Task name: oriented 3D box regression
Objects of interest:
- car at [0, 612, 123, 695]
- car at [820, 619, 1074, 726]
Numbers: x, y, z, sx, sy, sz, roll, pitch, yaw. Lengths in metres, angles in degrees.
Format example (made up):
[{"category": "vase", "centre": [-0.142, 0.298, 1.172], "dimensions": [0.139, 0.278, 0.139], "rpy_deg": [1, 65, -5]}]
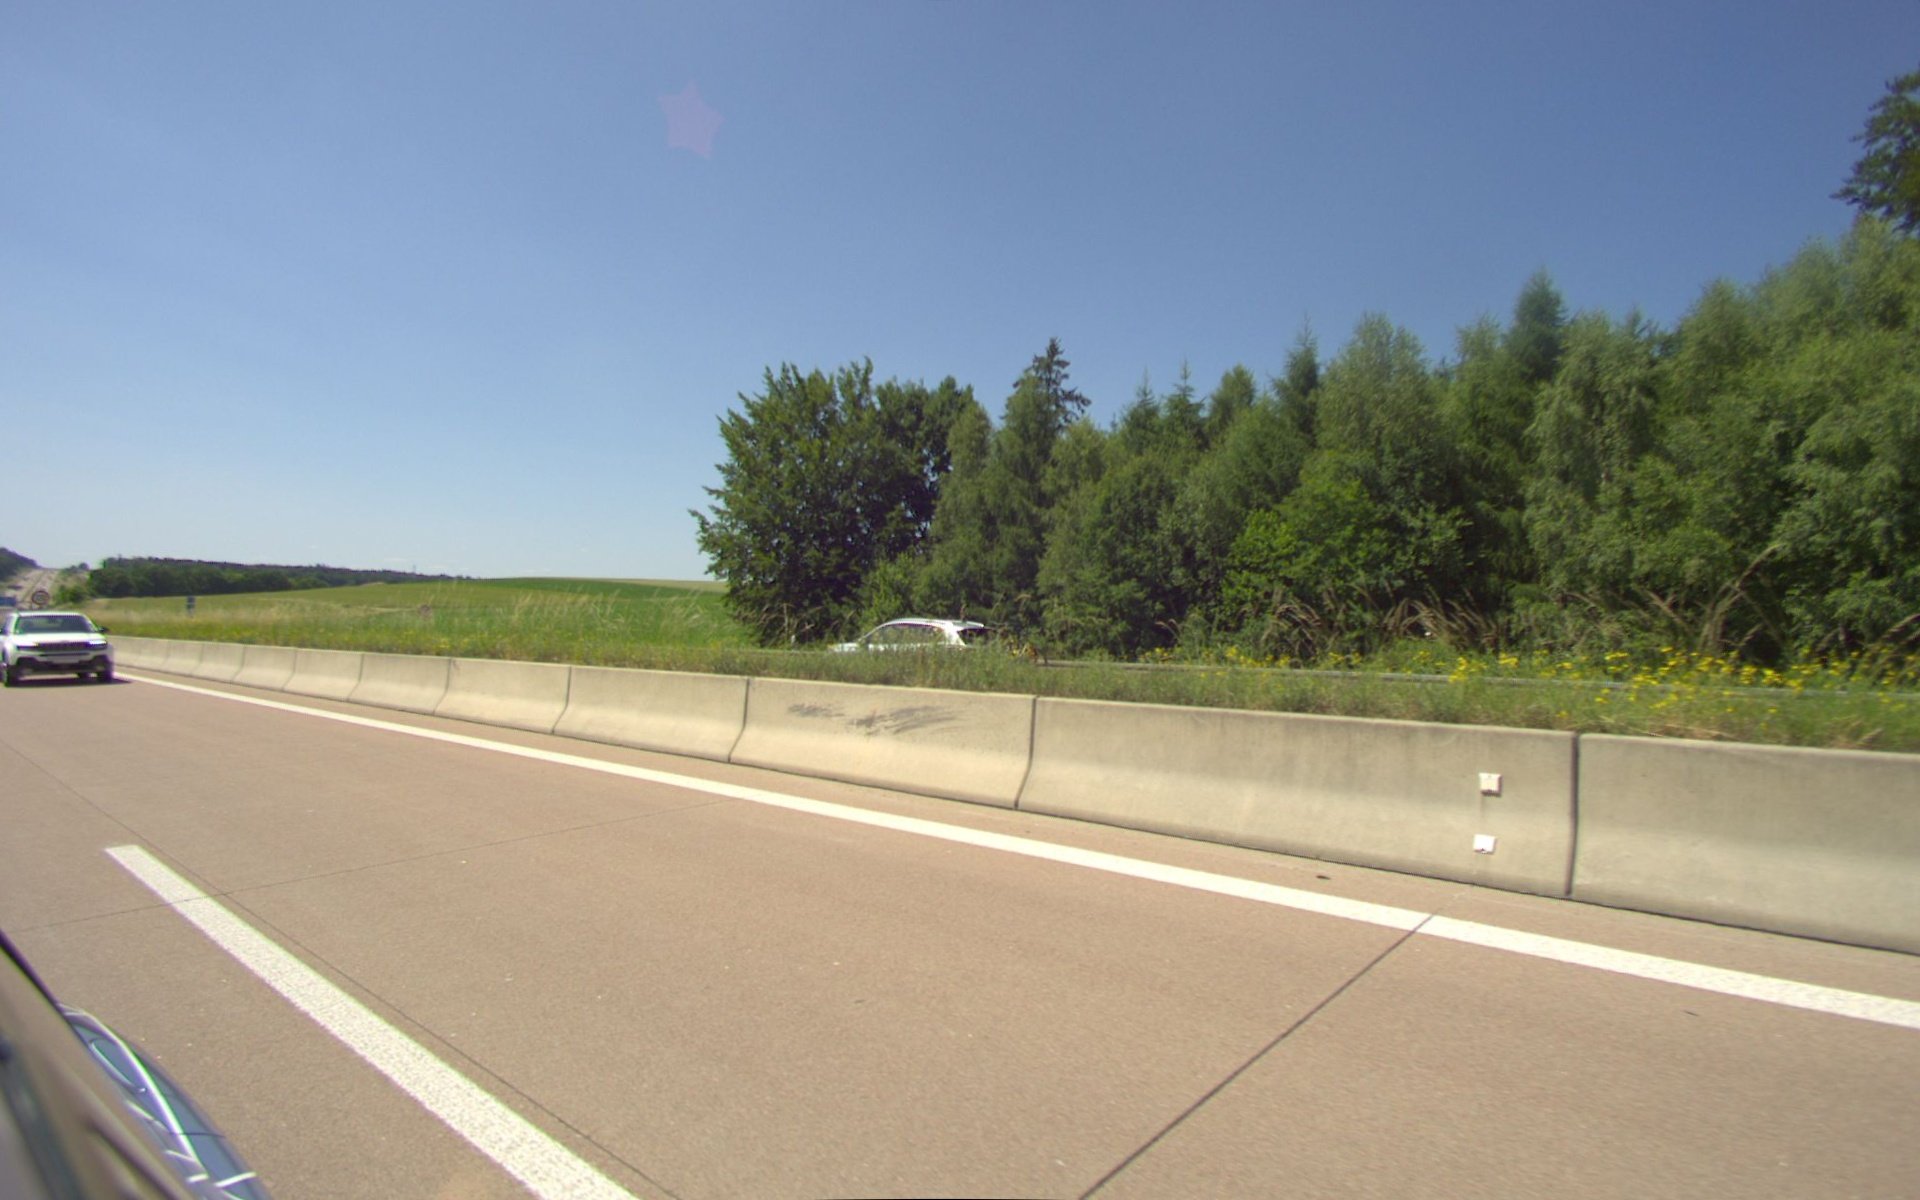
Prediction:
[{"category": "car", "centre": [-20.094, 1.089, 22.275], "dimensions": [4.832, 1.619, 1.859], "rpy_deg": [-1, -1, 42]}, {"category": "car", "centre": [-0.380, 1.336, 20.324], "dimensions": [5.097, 1.877, 1.872], "rpy_deg": [-1, -1, 39]}]
